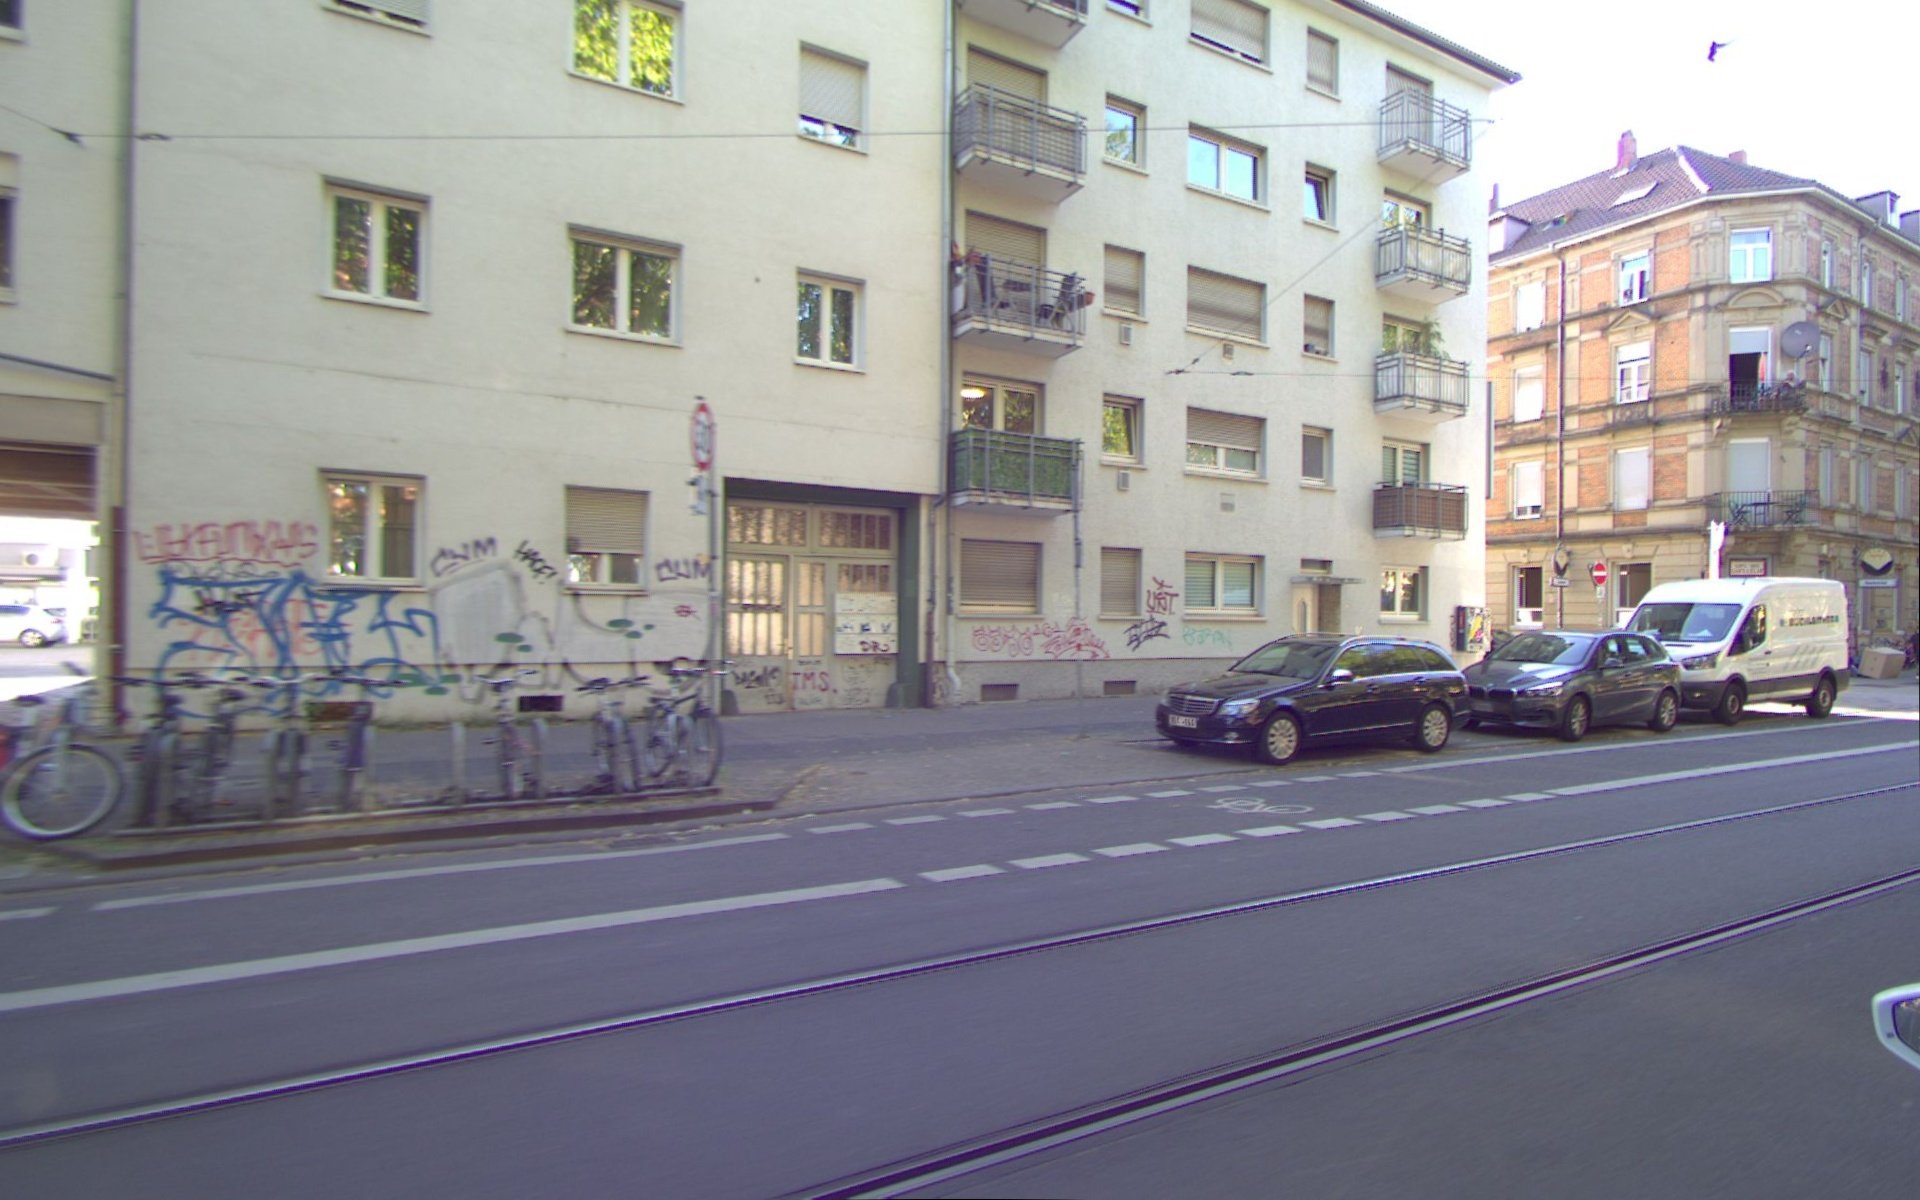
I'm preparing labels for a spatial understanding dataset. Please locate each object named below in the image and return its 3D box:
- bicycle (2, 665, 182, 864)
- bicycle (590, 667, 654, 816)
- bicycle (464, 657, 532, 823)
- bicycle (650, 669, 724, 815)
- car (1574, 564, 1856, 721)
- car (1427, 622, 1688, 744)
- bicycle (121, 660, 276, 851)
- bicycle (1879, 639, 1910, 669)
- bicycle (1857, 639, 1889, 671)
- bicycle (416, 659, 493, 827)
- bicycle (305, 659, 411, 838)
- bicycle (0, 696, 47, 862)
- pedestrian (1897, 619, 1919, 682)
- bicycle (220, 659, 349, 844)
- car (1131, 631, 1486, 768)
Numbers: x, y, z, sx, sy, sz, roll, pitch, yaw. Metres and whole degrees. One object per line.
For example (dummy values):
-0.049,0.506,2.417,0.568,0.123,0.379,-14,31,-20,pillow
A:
-6.243,1.105,7.325,0.396,1.134,1.889,1,0,-22,bicycle
-3.026,1.185,8.917,0.396,1.051,1.889,1,0,-22,bicycle
-3.852,1.101,8.439,0.418,1.134,1.785,1,0,-22,bicycle
-2.517,1.224,9.153,0.396,1.051,1.889,1,0,-22,bicycle
14.047,0.755,18.610,5.596,2.569,2.056,1,-1,-28,car
9.348,1.195,15.631,4.297,1.653,1.709,1,-1,-31,car
-5.676,1.083,7.588,0.433,1.134,1.927,1,0,-22,bicycle
33.403,1.913,35.896,1.828,1.048,0.370,1,-1,-33,bicycle
31.524,1.887,34.664,1.828,1.048,0.370,1,-1,-33,bicycle
-4.187,1.117,8.391,0.418,1.134,1.815,1,0,-22,bicycle
-4.775,1.104,8.052,0.418,1.134,1.964,1,0,-22,bicycle
-6.778,1.221,7.089,1.601,0.929,0.400,1,0,45,bicycle
28.403,1.500,29.824,1.048,1.825,0.678,1,0,-39,pedestrian
-5.206,1.094,7.837,0.433,1.134,1.956,1,0,-22,bicycle
4.520,1.151,12.852,4.515,1.475,1.711,1,-1,-28,car
